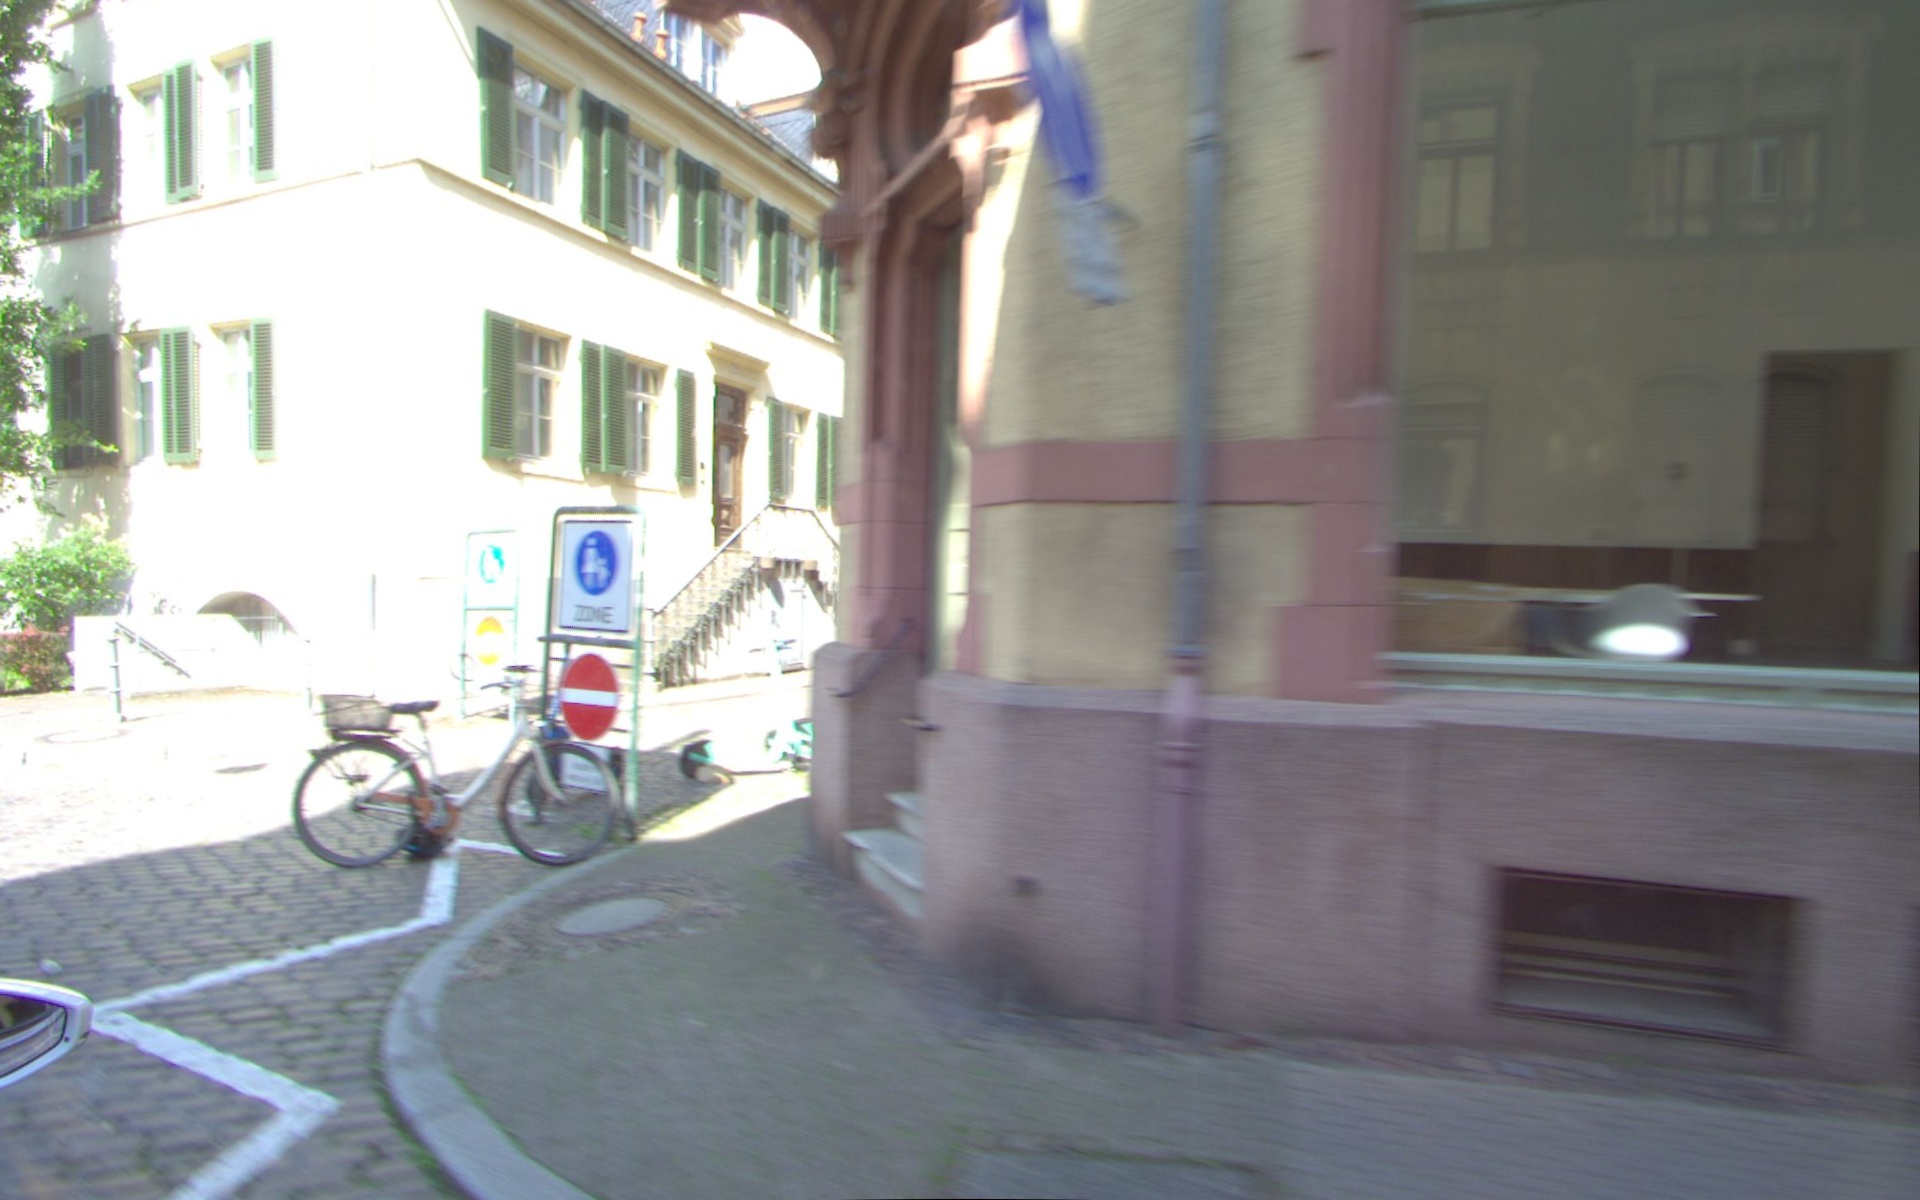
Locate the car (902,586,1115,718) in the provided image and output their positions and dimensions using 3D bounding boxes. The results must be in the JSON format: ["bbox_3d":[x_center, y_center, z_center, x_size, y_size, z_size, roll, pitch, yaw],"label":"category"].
[{"bbox_3d":[0.888,0.654,15.102,1.966,1.665,3.989,1,1,23],"label":"car"}]

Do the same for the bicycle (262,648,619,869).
[{"bbox_3d":[-2.947,0.880,5.832,1.760,1.162,0.504,0,2,-11],"label":"bicycle"}]

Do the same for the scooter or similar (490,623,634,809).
[{"bbox_3d":[-2.999,0.828,7.629,0.434,1.252,1.189,2,2,11],"label":"scooter or similar"}]

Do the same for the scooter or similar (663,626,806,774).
[{"bbox_3d":[-1.972,0.852,8.767,1.171,1.226,0.341,1,2,-21],"label":"scooter or similar"}]

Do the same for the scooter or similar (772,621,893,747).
[{"bbox_3d":[-1.288,0.846,10.208,1.167,1.226,0.342,1,2,0],"label":"scooter or similar"}]

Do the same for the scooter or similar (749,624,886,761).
[{"bbox_3d":[-1.352,0.868,9.557,1.211,1.226,0.413,2,2,6],"label":"scooter or similar"}]
